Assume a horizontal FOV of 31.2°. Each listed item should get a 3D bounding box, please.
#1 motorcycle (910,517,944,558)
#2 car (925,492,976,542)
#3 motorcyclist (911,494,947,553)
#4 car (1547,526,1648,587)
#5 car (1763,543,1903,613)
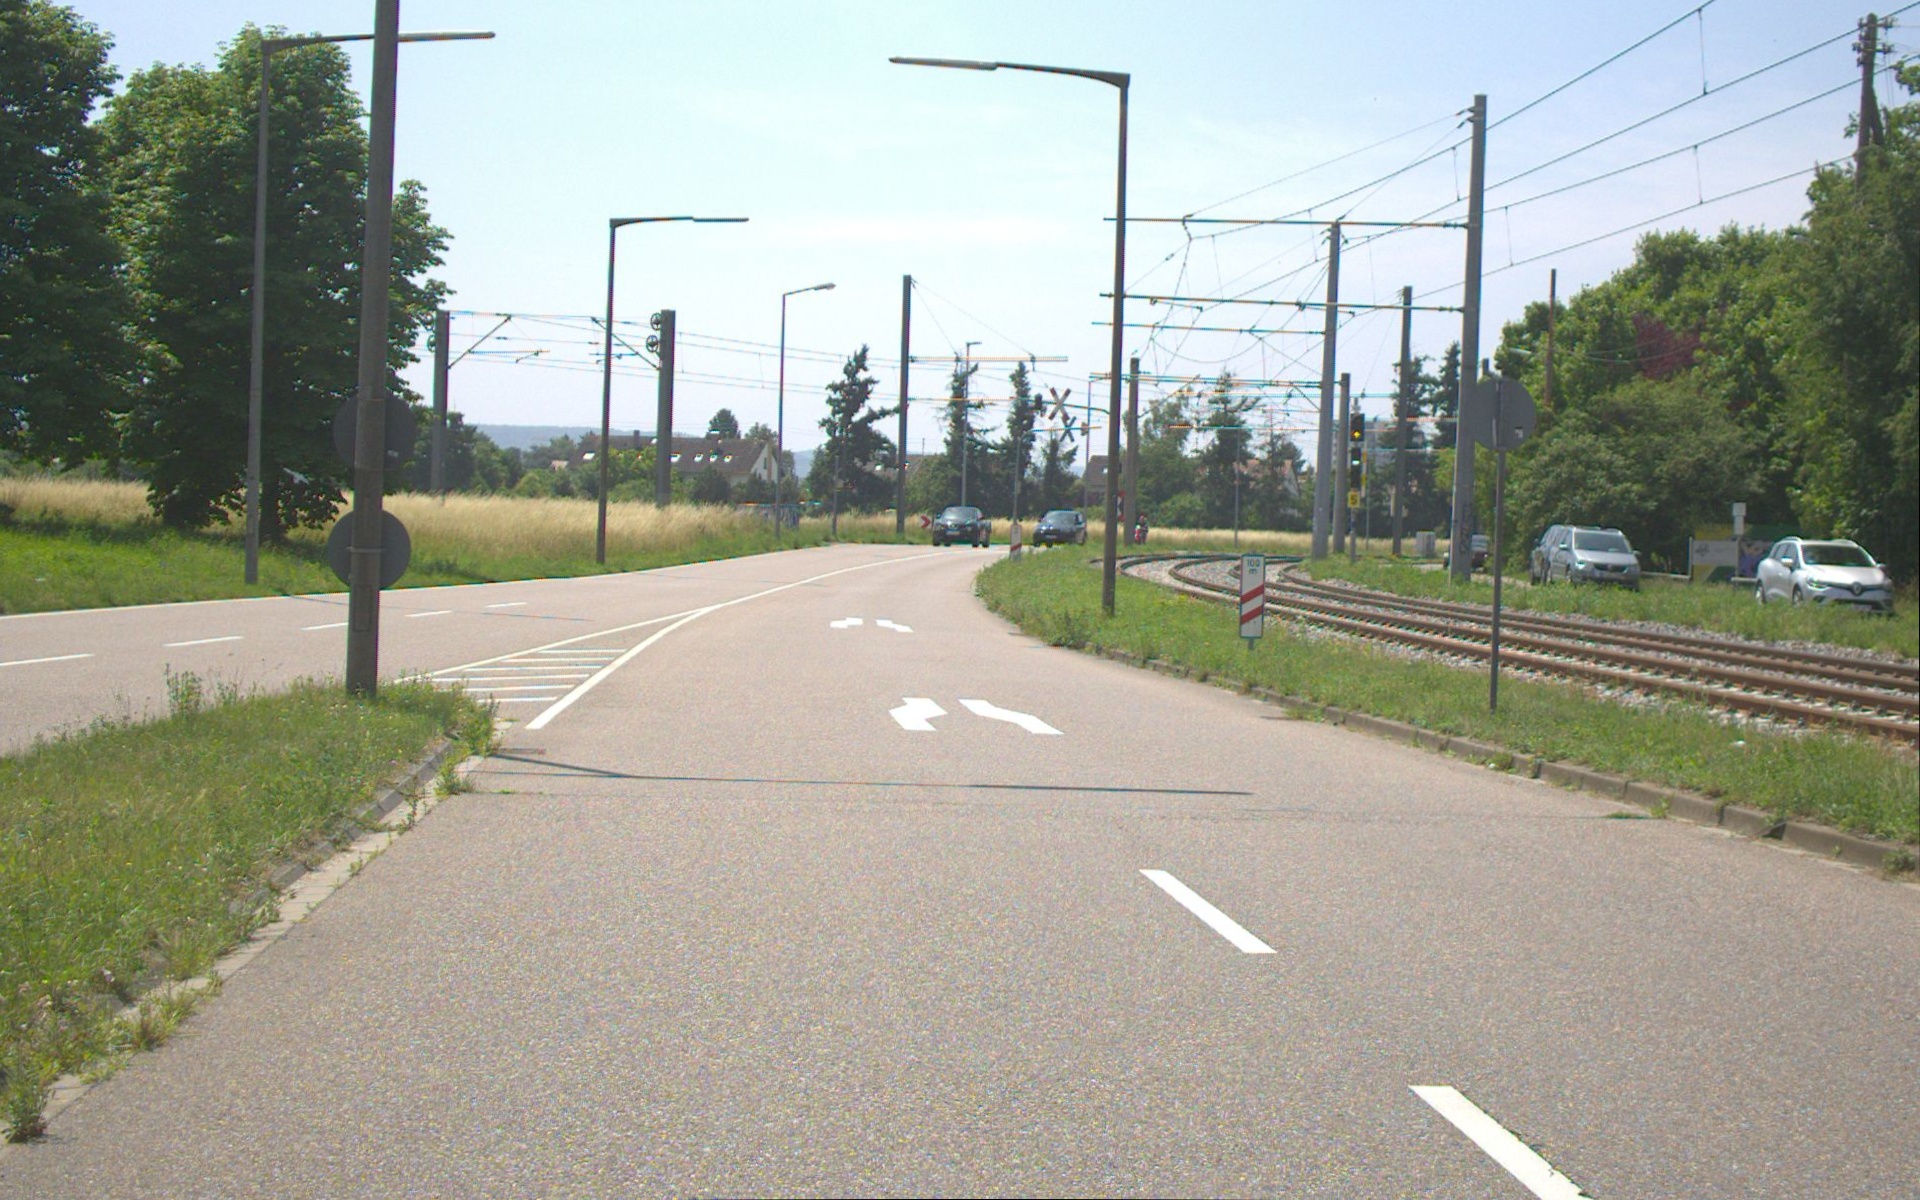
[{"bbox_3d":[-1.349,-2.575,141.716,0.989,1.575,3.400,4,1,5],"label":"motorcycle"},{"bbox_3d":[-0.361,-3.174,132.156,1.404,1.765,3.253,4,1,8],"label":"car"},{"bbox_3d":[-1.289,-3.153,141.988,1.231,2.343,1.106,4,1,5],"label":"motorcyclist"},{"bbox_3d":[15.971,-1.091,86.256,1.671,1.392,3.651,3,1,-2],"label":"car"},{"bbox_3d":[15.897,-0.415,62.723,1.562,1.175,3.080,1,1,-4],"label":"car"}]
